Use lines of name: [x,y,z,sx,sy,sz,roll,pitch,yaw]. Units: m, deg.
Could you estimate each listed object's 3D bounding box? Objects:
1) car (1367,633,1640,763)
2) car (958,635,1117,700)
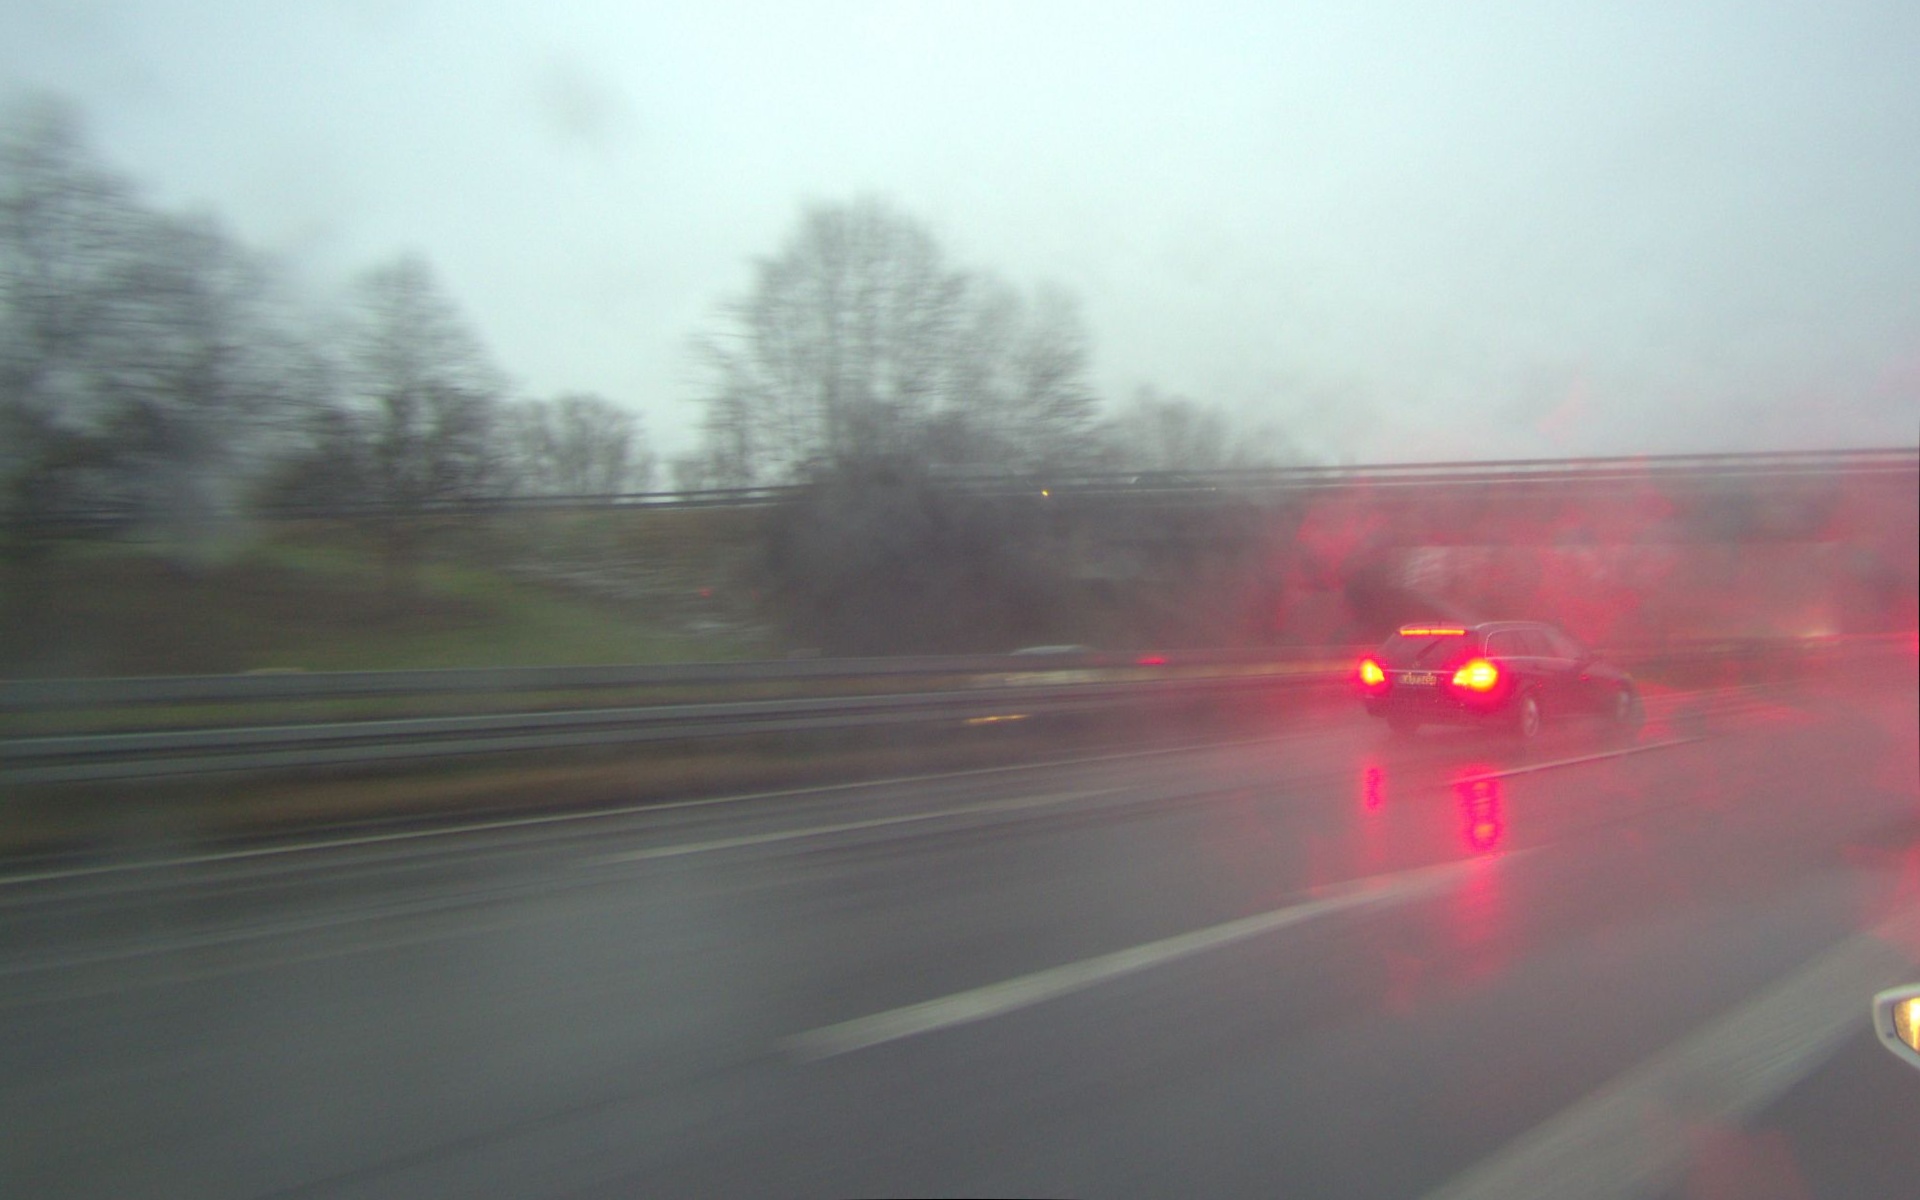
car: [7.640,1.283,13.943,4.377,1.486,1.784,1,-6,-40]
car: [2.206,1.835,28.182,4.354,1.590,1.743,0,0,-35]
